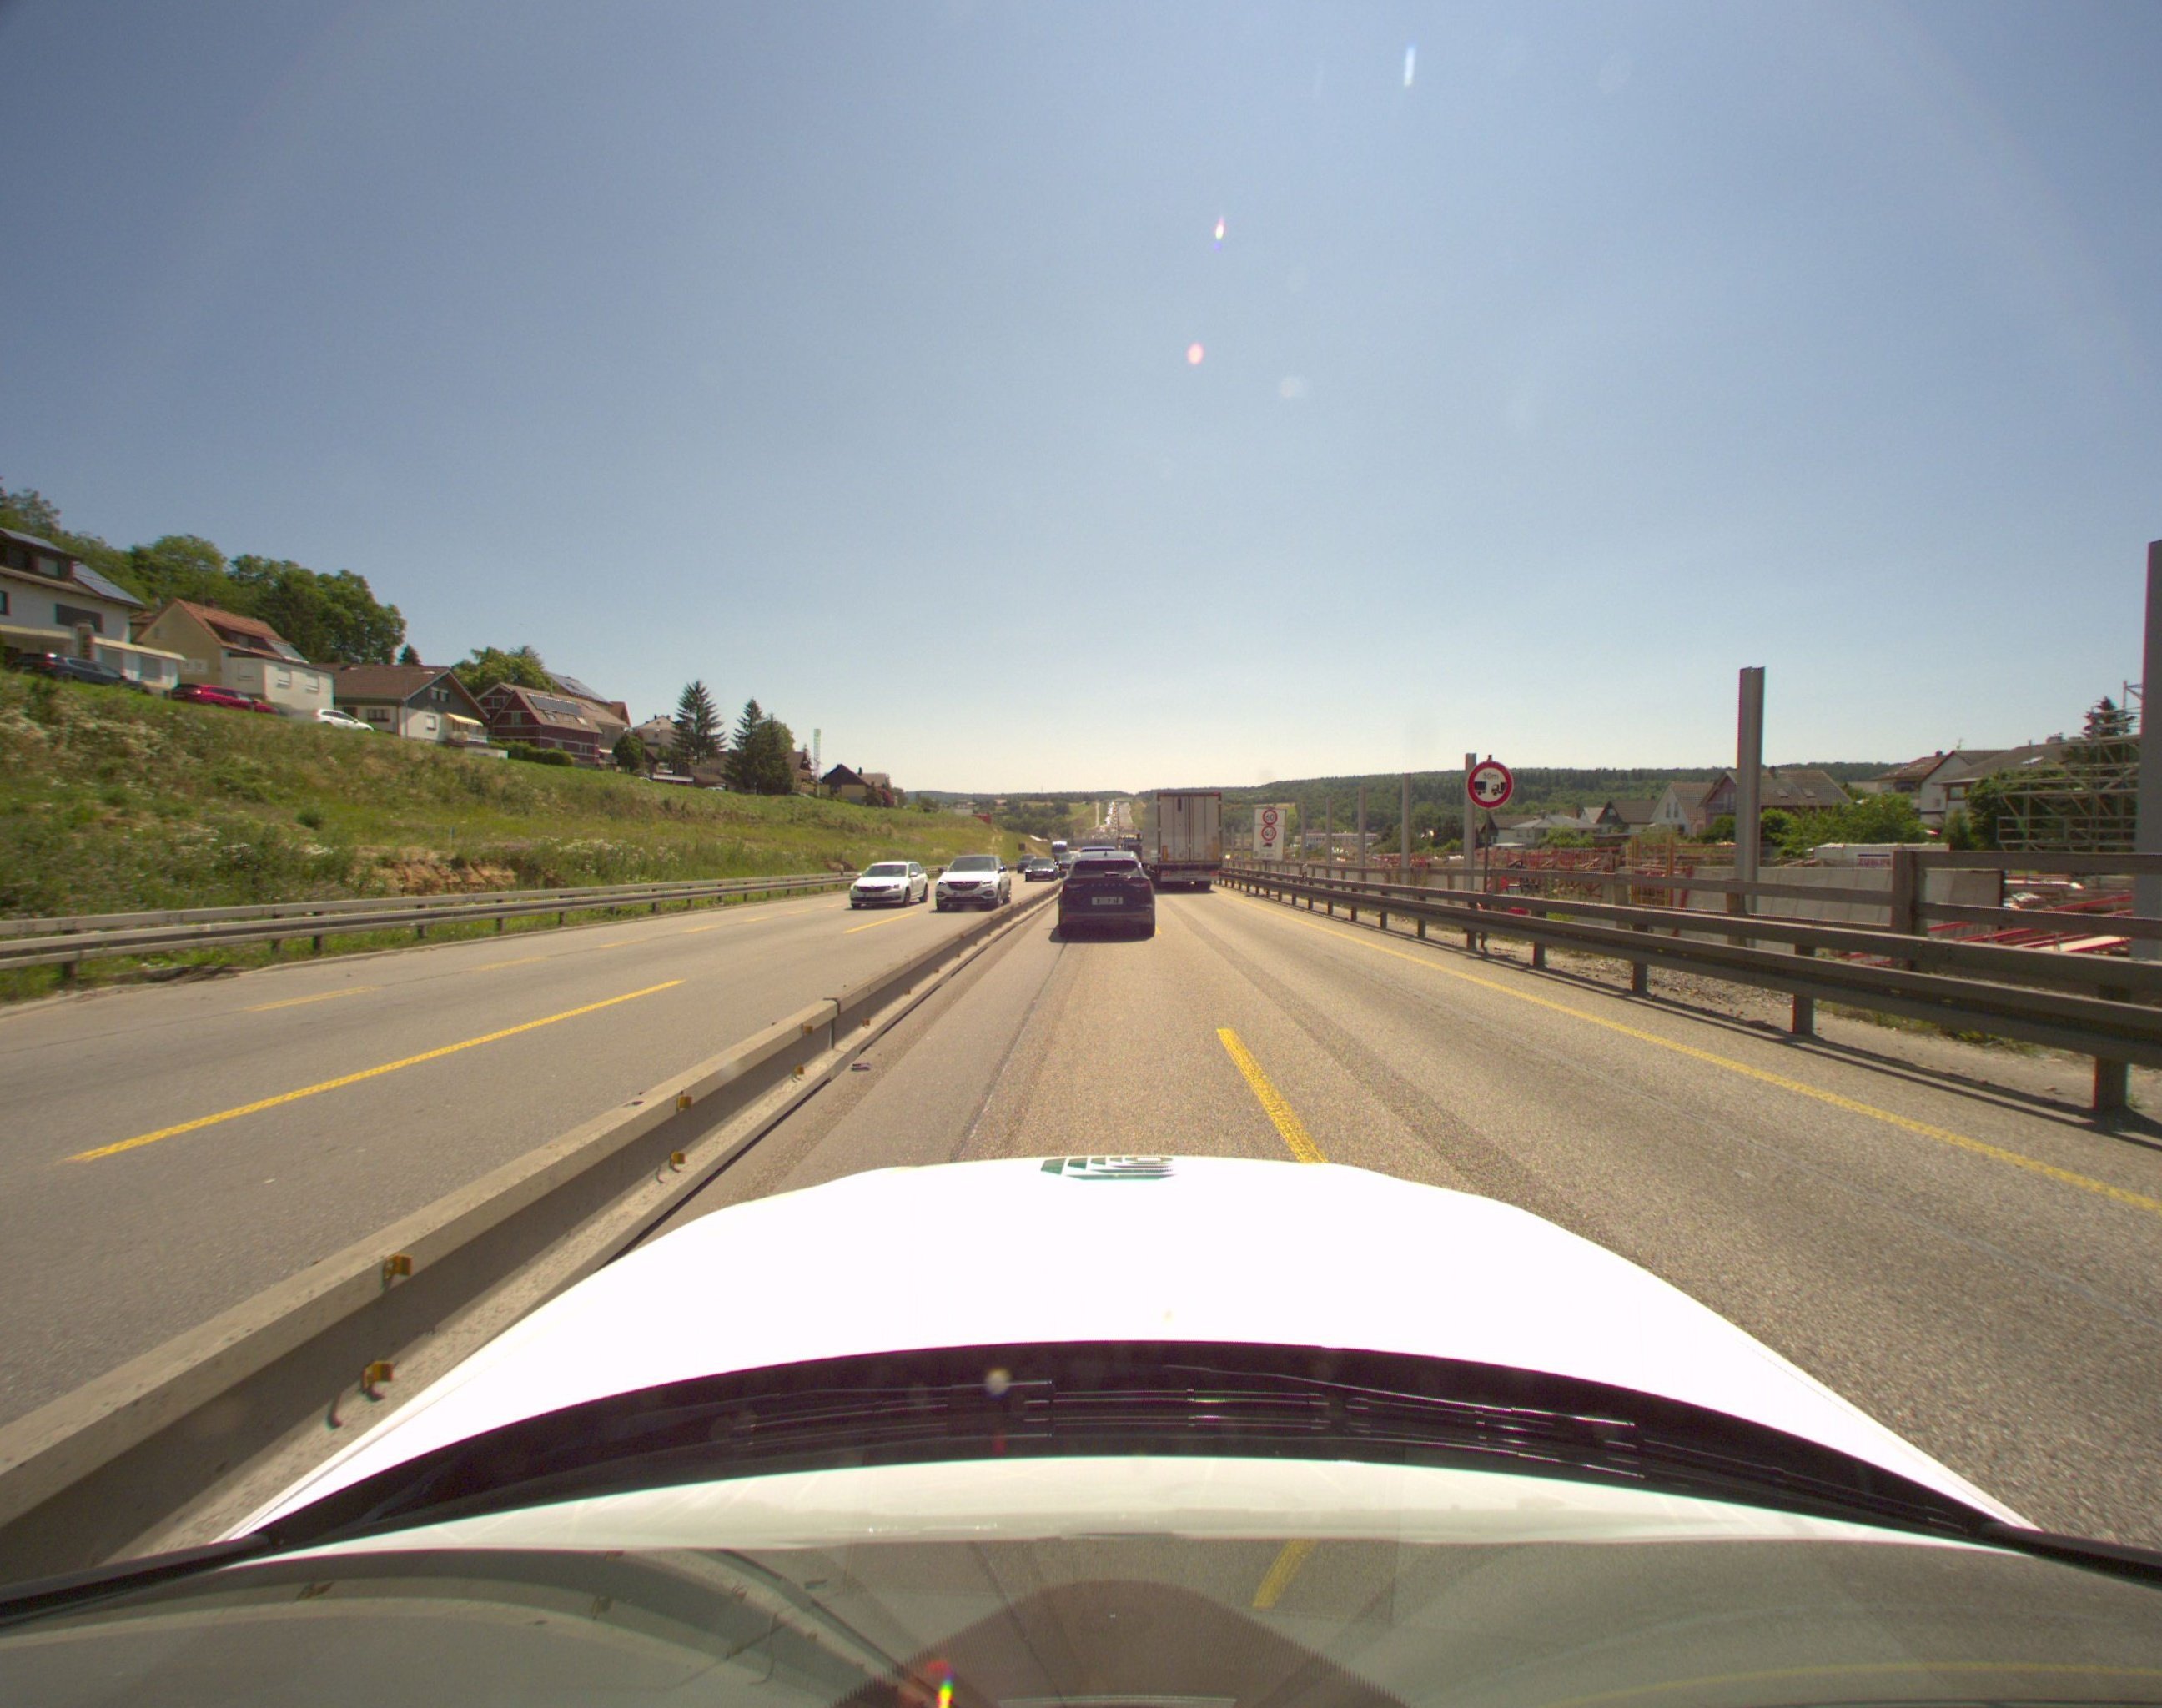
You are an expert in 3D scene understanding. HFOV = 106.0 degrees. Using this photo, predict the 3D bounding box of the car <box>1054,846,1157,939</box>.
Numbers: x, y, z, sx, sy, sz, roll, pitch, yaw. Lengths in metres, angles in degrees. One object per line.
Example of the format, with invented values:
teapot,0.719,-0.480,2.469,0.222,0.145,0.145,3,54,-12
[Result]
car,0.522,0.705,16.342,1.795,1.607,4.002,-1,-1,2

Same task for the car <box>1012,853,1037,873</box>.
car,-5.241,0.802,75.930,1.821,1.766,4.498,-2,0,2

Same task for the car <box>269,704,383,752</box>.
car,-44.895,-7.444,48.611,2.341,2.041,4.815,-1,-1,-1

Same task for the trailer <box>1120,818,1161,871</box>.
trailer,5.483,-0.687,77.214,3.168,4.513,14.971,-1,-1,2

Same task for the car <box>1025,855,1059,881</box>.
car,-2.403,0.855,51.210,1.791,1.466,4.357,-2,0,2

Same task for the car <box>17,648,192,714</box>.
car,-43.044,-7.581,36.131,2.175,1.794,4.755,-1,-1,-5

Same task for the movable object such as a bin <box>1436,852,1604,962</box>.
movable object such as a bin,21.145,2.411,40.171,3.215,4.743,9.657,-1,-1,1

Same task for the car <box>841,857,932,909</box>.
car,-6.264,0.877,26.828,1.798,1.497,4.600,-1,0,1

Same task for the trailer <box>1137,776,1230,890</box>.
trailer,4.533,-0.853,39.115,3.168,4.513,13.113,-1,0,2

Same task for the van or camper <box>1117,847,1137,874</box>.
van or camper,5.904,0.837,103.548,2.378,3.281,6.475,-1,-1,4

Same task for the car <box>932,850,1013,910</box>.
car,-3.194,0.725,24.729,1.800,1.640,4.173,-1,0,1

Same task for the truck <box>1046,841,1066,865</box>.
truck,-3.902,-0.204,130.142,2.769,3.672,6.278,-1,0,1

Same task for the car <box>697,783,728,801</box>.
car,-49.536,-8.377,109.587,1.983,2.014,4.008,-1,-1,7

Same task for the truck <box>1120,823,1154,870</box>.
truck,5.673,-0.668,84.265,3.168,4.513,8.167,-1,-1,2

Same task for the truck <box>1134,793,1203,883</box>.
truck,4.750,-0.838,45.614,3.168,4.513,8.169,-1,0,2

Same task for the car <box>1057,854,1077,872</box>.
car,-1.376,0.881,83.832,1.839,1.777,4.883,-1,0,1

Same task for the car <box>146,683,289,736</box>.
car,-44.658,-7.423,42.318,2.341,1.794,4.798,-1,-1,-2

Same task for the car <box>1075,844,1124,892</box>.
car,0.815,0.625,35.821,1.986,1.926,4.508,-1,-1,1

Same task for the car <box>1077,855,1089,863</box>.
car,0.416,0.866,145.138,1.887,1.414,4.682,-1,0,2

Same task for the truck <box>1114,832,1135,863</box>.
truck,6.830,-0.859,128.495,2.842,4.465,11.919,-1,-1,1

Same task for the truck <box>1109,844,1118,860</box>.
truck,9.228,-0.479,231.572,2.630,4.194,9.287,-1,-1,2
